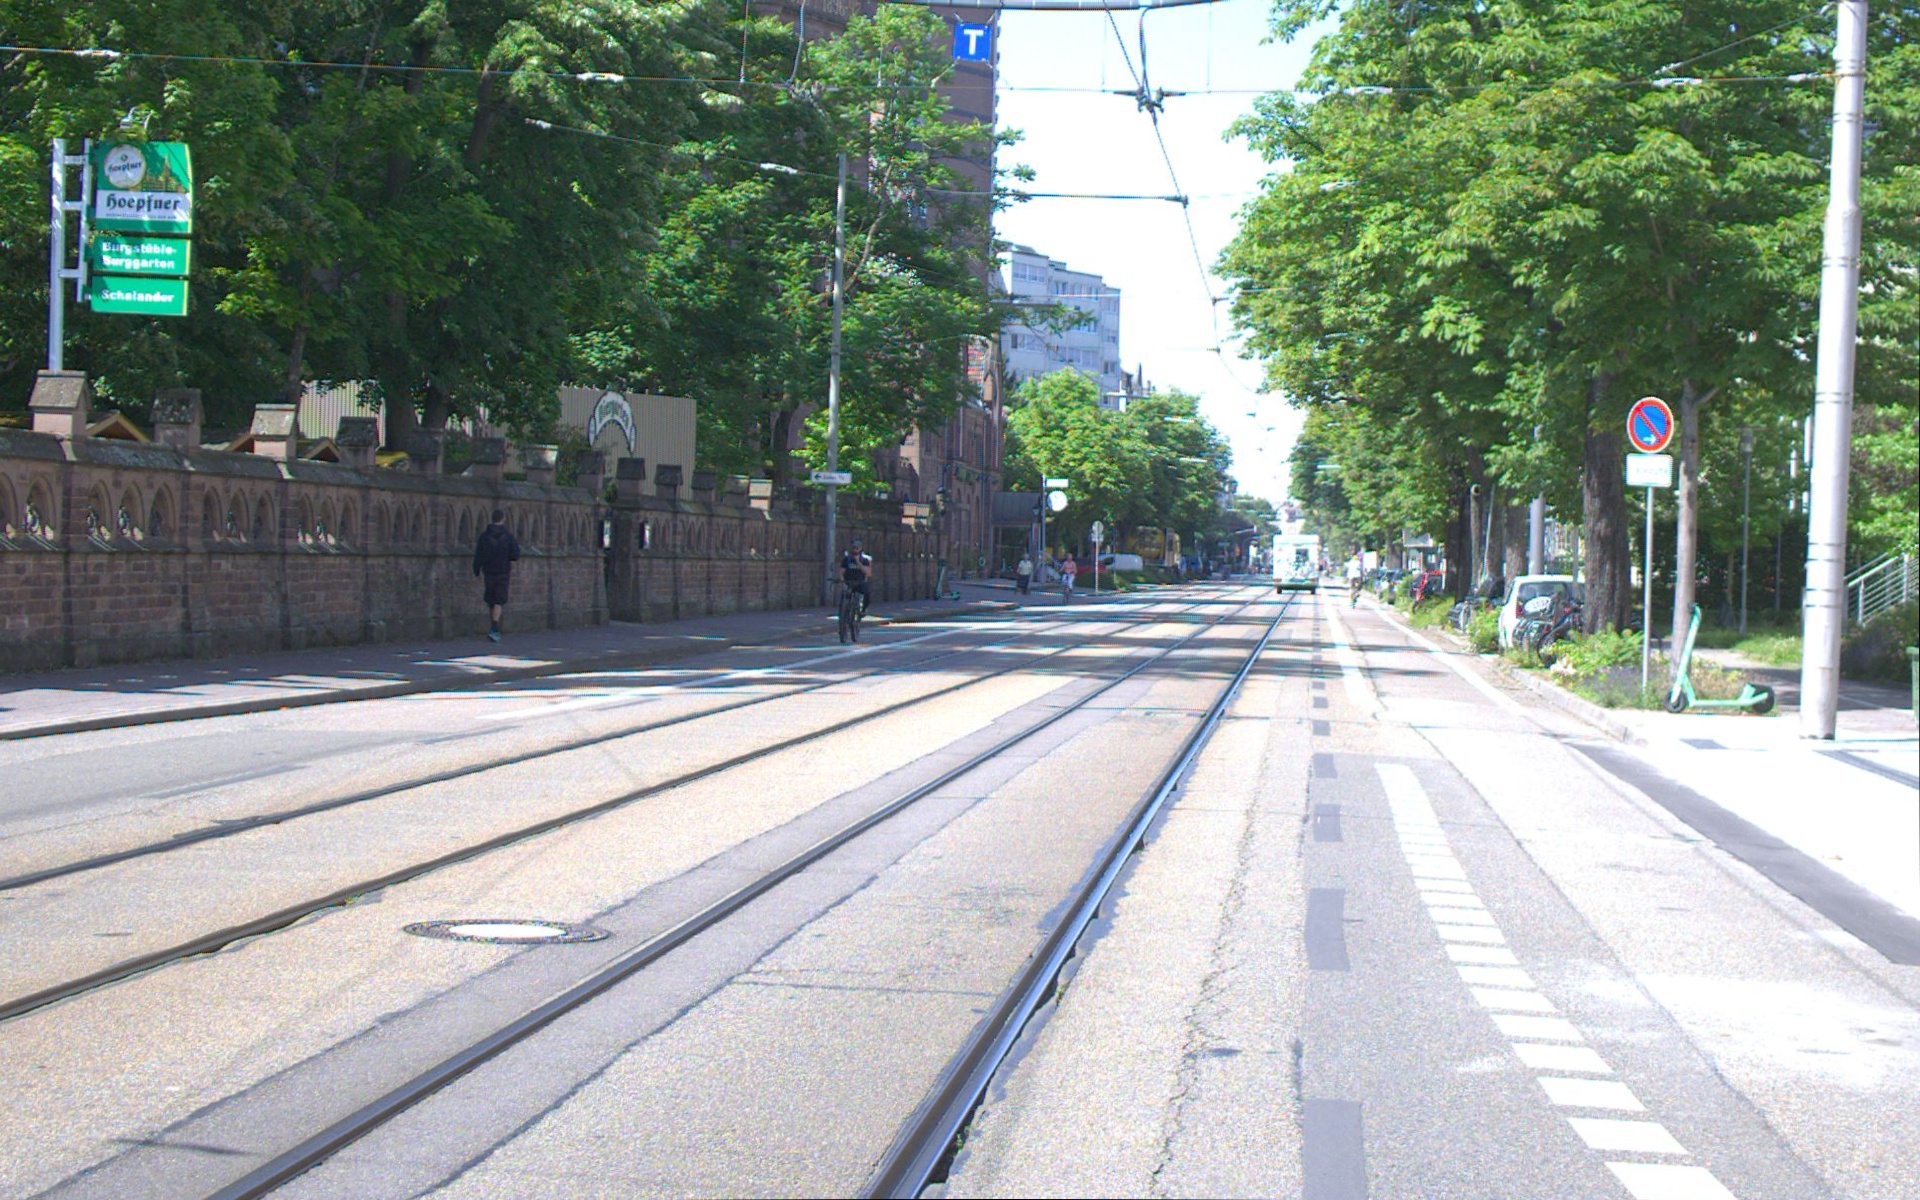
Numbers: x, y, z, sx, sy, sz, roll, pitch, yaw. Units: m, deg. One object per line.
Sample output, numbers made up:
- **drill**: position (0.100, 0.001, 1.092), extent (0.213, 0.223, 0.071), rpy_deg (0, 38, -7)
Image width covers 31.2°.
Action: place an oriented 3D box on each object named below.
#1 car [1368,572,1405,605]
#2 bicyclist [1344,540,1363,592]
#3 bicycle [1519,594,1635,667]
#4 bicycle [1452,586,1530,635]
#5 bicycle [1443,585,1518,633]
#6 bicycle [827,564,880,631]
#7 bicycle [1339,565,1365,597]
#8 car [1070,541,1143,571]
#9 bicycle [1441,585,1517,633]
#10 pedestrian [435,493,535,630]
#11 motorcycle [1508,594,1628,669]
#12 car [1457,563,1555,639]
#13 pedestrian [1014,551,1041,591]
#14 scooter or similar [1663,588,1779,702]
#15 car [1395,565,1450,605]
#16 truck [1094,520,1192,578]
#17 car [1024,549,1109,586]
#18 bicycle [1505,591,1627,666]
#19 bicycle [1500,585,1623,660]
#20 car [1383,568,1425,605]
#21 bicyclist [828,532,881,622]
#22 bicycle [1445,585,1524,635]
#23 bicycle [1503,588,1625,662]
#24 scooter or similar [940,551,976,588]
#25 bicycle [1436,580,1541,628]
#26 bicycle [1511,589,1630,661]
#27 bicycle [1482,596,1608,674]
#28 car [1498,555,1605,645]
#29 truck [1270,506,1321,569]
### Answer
- **car**: position (19.883, -0.553, 160.391), extent (1.630, 1.467, 4.113), rpy_deg (1, 1, 6)
- **bicyclist**: position (14.248, -1.228, 124.531), extent (0.636, 1.865, 1.024), rpy_deg (1, 1, 5)
- **bicycle**: position (9.641, 0.472, 53.762), extent (1.724, 1.082, 0.639), rpy_deg (1, 1, 6)
- **bicycle**: position (12.227, 0.245, 79.204), extent (1.724, 1.082, 0.570), rpy_deg (1, 1, 6)
- **bicycle**: position (12.334, 0.205, 81.475), extent (1.724, 1.082, 0.478), rpy_deg (1, 1, 6)
- **bicycle**: position (-1.824, -0.047, 59.169), extent (0.592, 1.102, 2.054), rpy_deg (2, 1, 6)
- **bicycle**: position (14.184, -0.689, 124.349), extent (0.856, 1.106, 2.139), rpy_deg (2, 1, 5)
- **car**: position (9.066, -2.741, 213.021), extent (3.986, 1.744, 2.001), rpy_deg (1, 1, -24)
- **bicycle**: position (12.208, 0.204, 80.919), extent (1.724, 1.082, 0.615), rpy_deg (1, 1, 6)
- **pedestrian**: position (-6.663, -0.539, 48.311), extent (0.977, 1.809, 1.184), rpy_deg (5, 1, 6)
- **motorcycle**: position (9.255, 0.473, 52.394), extent (1.724, 1.082, 0.658), rpy_deg (1, 1, 6)
- **car**: position (11.455, 0.004, 72.329), extent (1.630, 1.478, 4.273), rpy_deg (2, 1, 4)
- **pedestrian**: position (2.609, -1.112, 132.793), extent (0.883, 1.507, 1.476), rpy_deg (2, 1, -3)
- **scooter or similar**: position (8.069, 0.473, 36.498), extent (1.126, 1.162, 0.675), rpy_deg (2, 1, 9)
- **car**: position (16.251, -0.545, 120.983), extent (1.630, 1.350, 3.901), rpy_deg (1, 1, 4)
- **truck**: position (12.887, -3.554, 241.500), extent (2.817, 3.846, 9.984), rpy_deg (2, 1, 28)
- **car**: position (5.586, -1.701, 180.091), extent (3.987, 1.804, 1.890), rpy_deg (1, 1, -31)
- **bicycle**: position (9.720, 0.453, 55.177), extent (1.849, 1.128, 0.680), rpy_deg (1, 1, 6)
- **bicycle**: position (9.870, 0.368, 56.493), extent (1.904, 1.165, 0.819), rpy_deg (1, 1, 6)
- **car**: position (18.399, -0.586, 142.558), extent (1.630, 1.467, 4.113), rpy_deg (2, 1, 6)
- **bicyclist**: position (-1.809, -0.399, 59.246), extent (0.740, 1.525, 0.947), rpy_deg (2, 1, 6)
- **bicycle**: position (12.004, 0.224, 78.647), extent (1.724, 1.082, 0.697), rpy_deg (1, 1, 6)
- **bicycle**: position (9.799, 0.396, 55.850), extent (1.873, 1.137, 0.686), rpy_deg (1, 1, 6)
- **scooter or similar**: position (-0.071, -0.929, 105.446), extent (1.183, 1.125, 0.333), rpy_deg (1, 1, -45)
- **bicycle**: position (15.660, 0.103, 101.925), extent (3.029, 1.327, 1.041), rpy_deg (2, 1, 9)
- **bicycle**: position (9.697, 0.389, 54.647), extent (1.793, 1.082, 0.726), rpy_deg (1, 1, 6)
- **bicycle**: position (8.542, 0.503, 50.242), extent (1.724, 1.082, 0.789), rpy_deg (1, 1, 6)
- **car**: position (10.356, -0.029, 60.332), extent (1.630, 1.467, 3.629), rpy_deg (2, 1, 7)
- **truck**: position (17.124, -3.188, 175.448), extent (2.403, 3.098, 6.036), rpy_deg (2, 1, 6)
